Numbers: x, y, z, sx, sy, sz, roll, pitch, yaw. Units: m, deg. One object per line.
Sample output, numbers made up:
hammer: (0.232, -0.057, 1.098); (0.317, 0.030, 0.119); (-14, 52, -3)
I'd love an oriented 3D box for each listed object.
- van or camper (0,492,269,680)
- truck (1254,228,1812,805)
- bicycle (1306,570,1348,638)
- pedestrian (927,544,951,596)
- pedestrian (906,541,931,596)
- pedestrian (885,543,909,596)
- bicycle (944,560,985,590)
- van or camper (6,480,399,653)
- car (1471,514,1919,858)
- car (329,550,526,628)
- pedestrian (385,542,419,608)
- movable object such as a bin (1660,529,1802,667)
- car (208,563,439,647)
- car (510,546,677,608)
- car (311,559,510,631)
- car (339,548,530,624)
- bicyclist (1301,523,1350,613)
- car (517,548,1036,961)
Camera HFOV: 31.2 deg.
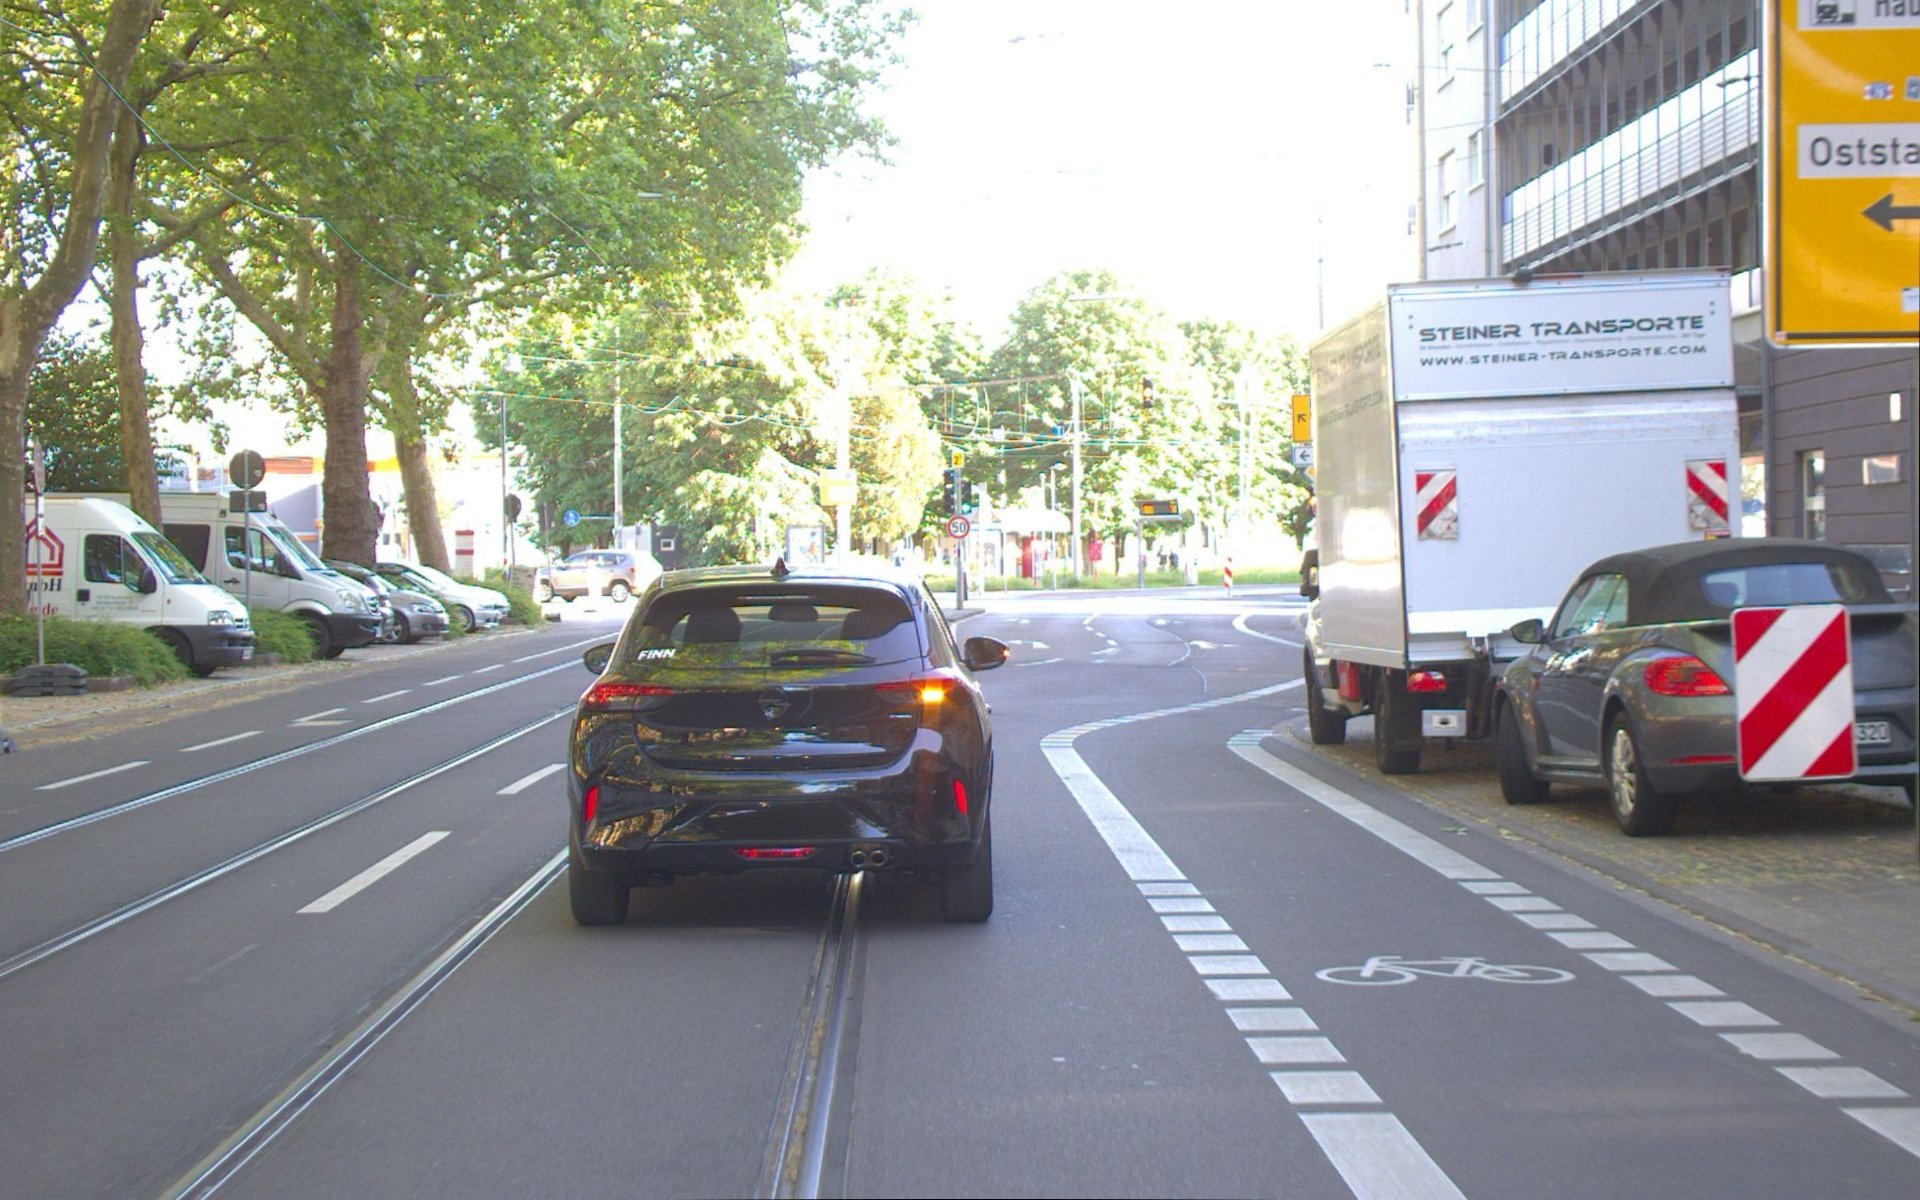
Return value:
van or camper: (-12.103, -0.209, 45.202); (5.502, 2.371, 2.269); (1, 1, 3)
truck: (3.743, -0.547, 24.194); (2.538, 3.326, 7.195); (-3, 1, 0)
bicycle: (5.889, 0.060, 55.116); (0.508, 1.063, 1.563); (-1, 1, 11)
pedestrian: (-0.761, -1.081, 122.756); (0.617, 1.847, 0.583); (1, 1, 33)
pedestrian: (-1.480, -1.127, 122.040); (0.658, 1.926, 0.608); (1, 1, 31)
pedestrian: (-2.240, -1.084, 121.792); (0.617, 1.847, 0.582); (1, 1, 37)
bicycle: (0.147, -0.848, 114.569); (0.789, 0.988, 2.241); (1, 1, 16)
van or camper: (-11.951, -0.533, 54.533); (5.723, 2.635, 2.269); (1, 1, 0)
car: (4.017, 0.376, 18.369); (1.730, 1.552, 4.152); (-3, 1, -2)
car: (-11.878, -0.260, 76.931); (4.167, 1.665, 1.965); (-1, 1, -3)
pedestrian: (-18.830, -0.859, 116.047); (0.819, 2.213, 0.899); (0, 1, -35)
movable object such as a bin: (8.699, -0.032, 38.852); (1.186, 1.479, 1.595); (-2, 1, 0)
car: (-11.863, 0.082, 64.193); (3.987, 1.510, 1.650); (1, 1, 1)
car: (-11.232, -0.701, 105.223); (4.731, 1.690, 1.997); (-2, 1, 29)
car: (-11.824, -0.115, 74.108); (3.987, 1.510, 1.650); (1, 1, 1)
car: (-12.110, -0.338, 79.449); (4.167, 1.665, 1.965); (-1, 1, -3)
bicyclist: (5.868, -0.520, 55.124); (0.706, 1.431, 0.702); (0, 1, 12)
car: (-0.640, 0.538, 14.681); (1.781, 1.491, 4.000); (0, 1, 3)
